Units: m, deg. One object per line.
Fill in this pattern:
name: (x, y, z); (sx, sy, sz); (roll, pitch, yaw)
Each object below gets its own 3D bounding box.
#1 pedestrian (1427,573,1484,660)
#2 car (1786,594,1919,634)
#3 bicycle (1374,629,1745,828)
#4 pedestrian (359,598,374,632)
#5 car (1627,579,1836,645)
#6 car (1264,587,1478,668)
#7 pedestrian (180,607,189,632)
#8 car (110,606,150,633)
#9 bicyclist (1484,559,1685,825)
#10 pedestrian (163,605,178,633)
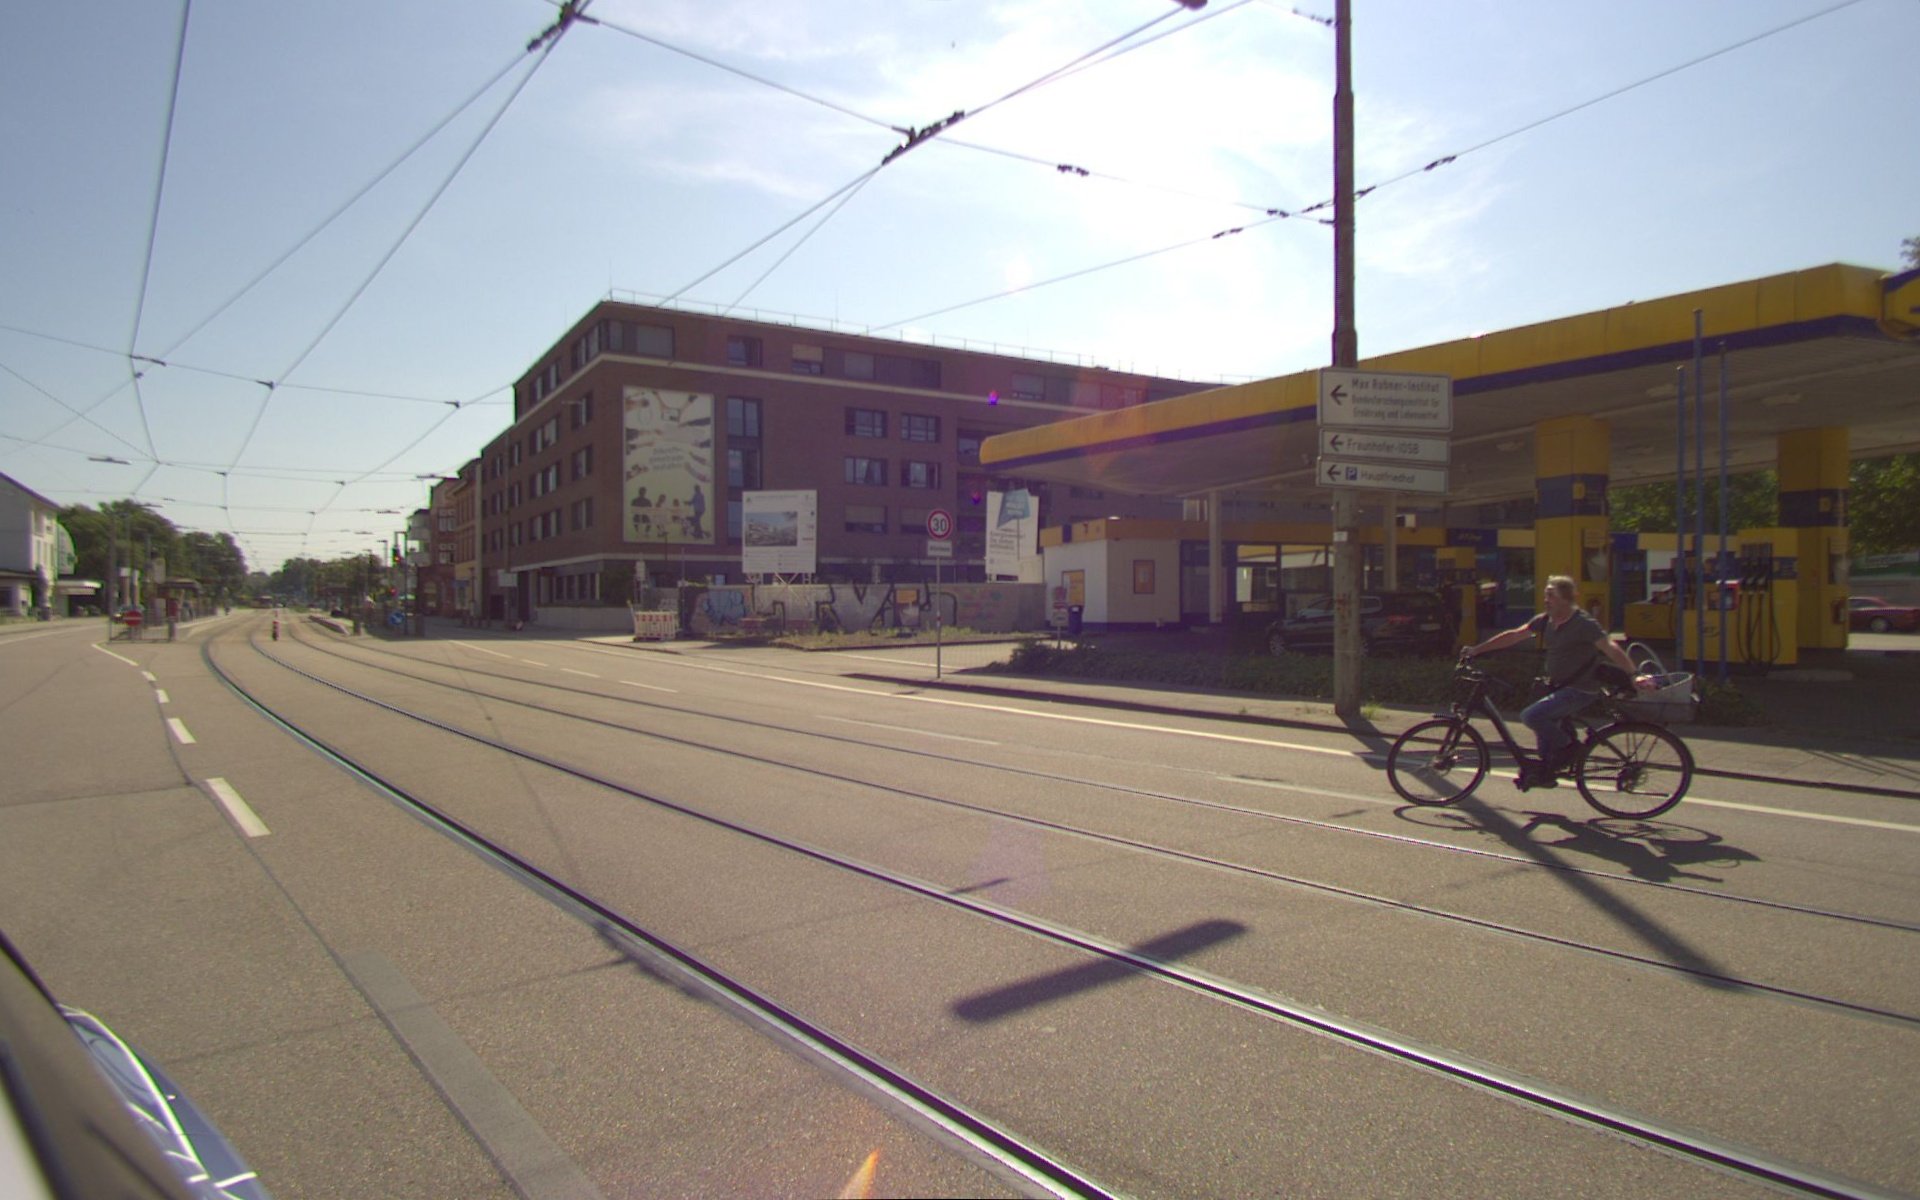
pedestrian: (10.184, 0.331, 20.803); (0.845, 1.738, 0.746); (0, 0, -39)
car: (32.883, 0.479, 36.744); (1.731, 1.370, 4.145); (-1, 0, -20)
bicycle: (4.001, 0.817, 6.972); (2.110, 1.206, 0.607); (-1, 0, 24)
pedestrian: (-31.762, 0.808, 54.184); (0.549, 1.773, 0.795); (0, 0, -40)
car: (25.225, 0.358, 33.386); (1.731, 1.997, 5.324); (-1, 0, -21)
car: (8.660, 0.569, 21.802); (1.731, 1.466, 4.423); (-4, 0, -18)
pedestrian: (-54.965, 1.384, 71.736); (0.707, 1.702, 0.410); (-1, -1, 42)
car: (-63.403, 1.455, 77.346); (1.966, 2.029, 4.011); (0, 0, -34)
bicyclist: (4.089, 0.559, 6.722); (0.957, 1.607, 0.900); (0, -1, 21)
pedestrian: (-48.911, 1.152, 62.722); (0.697, 1.702, 0.417); (0, -1, -42)
